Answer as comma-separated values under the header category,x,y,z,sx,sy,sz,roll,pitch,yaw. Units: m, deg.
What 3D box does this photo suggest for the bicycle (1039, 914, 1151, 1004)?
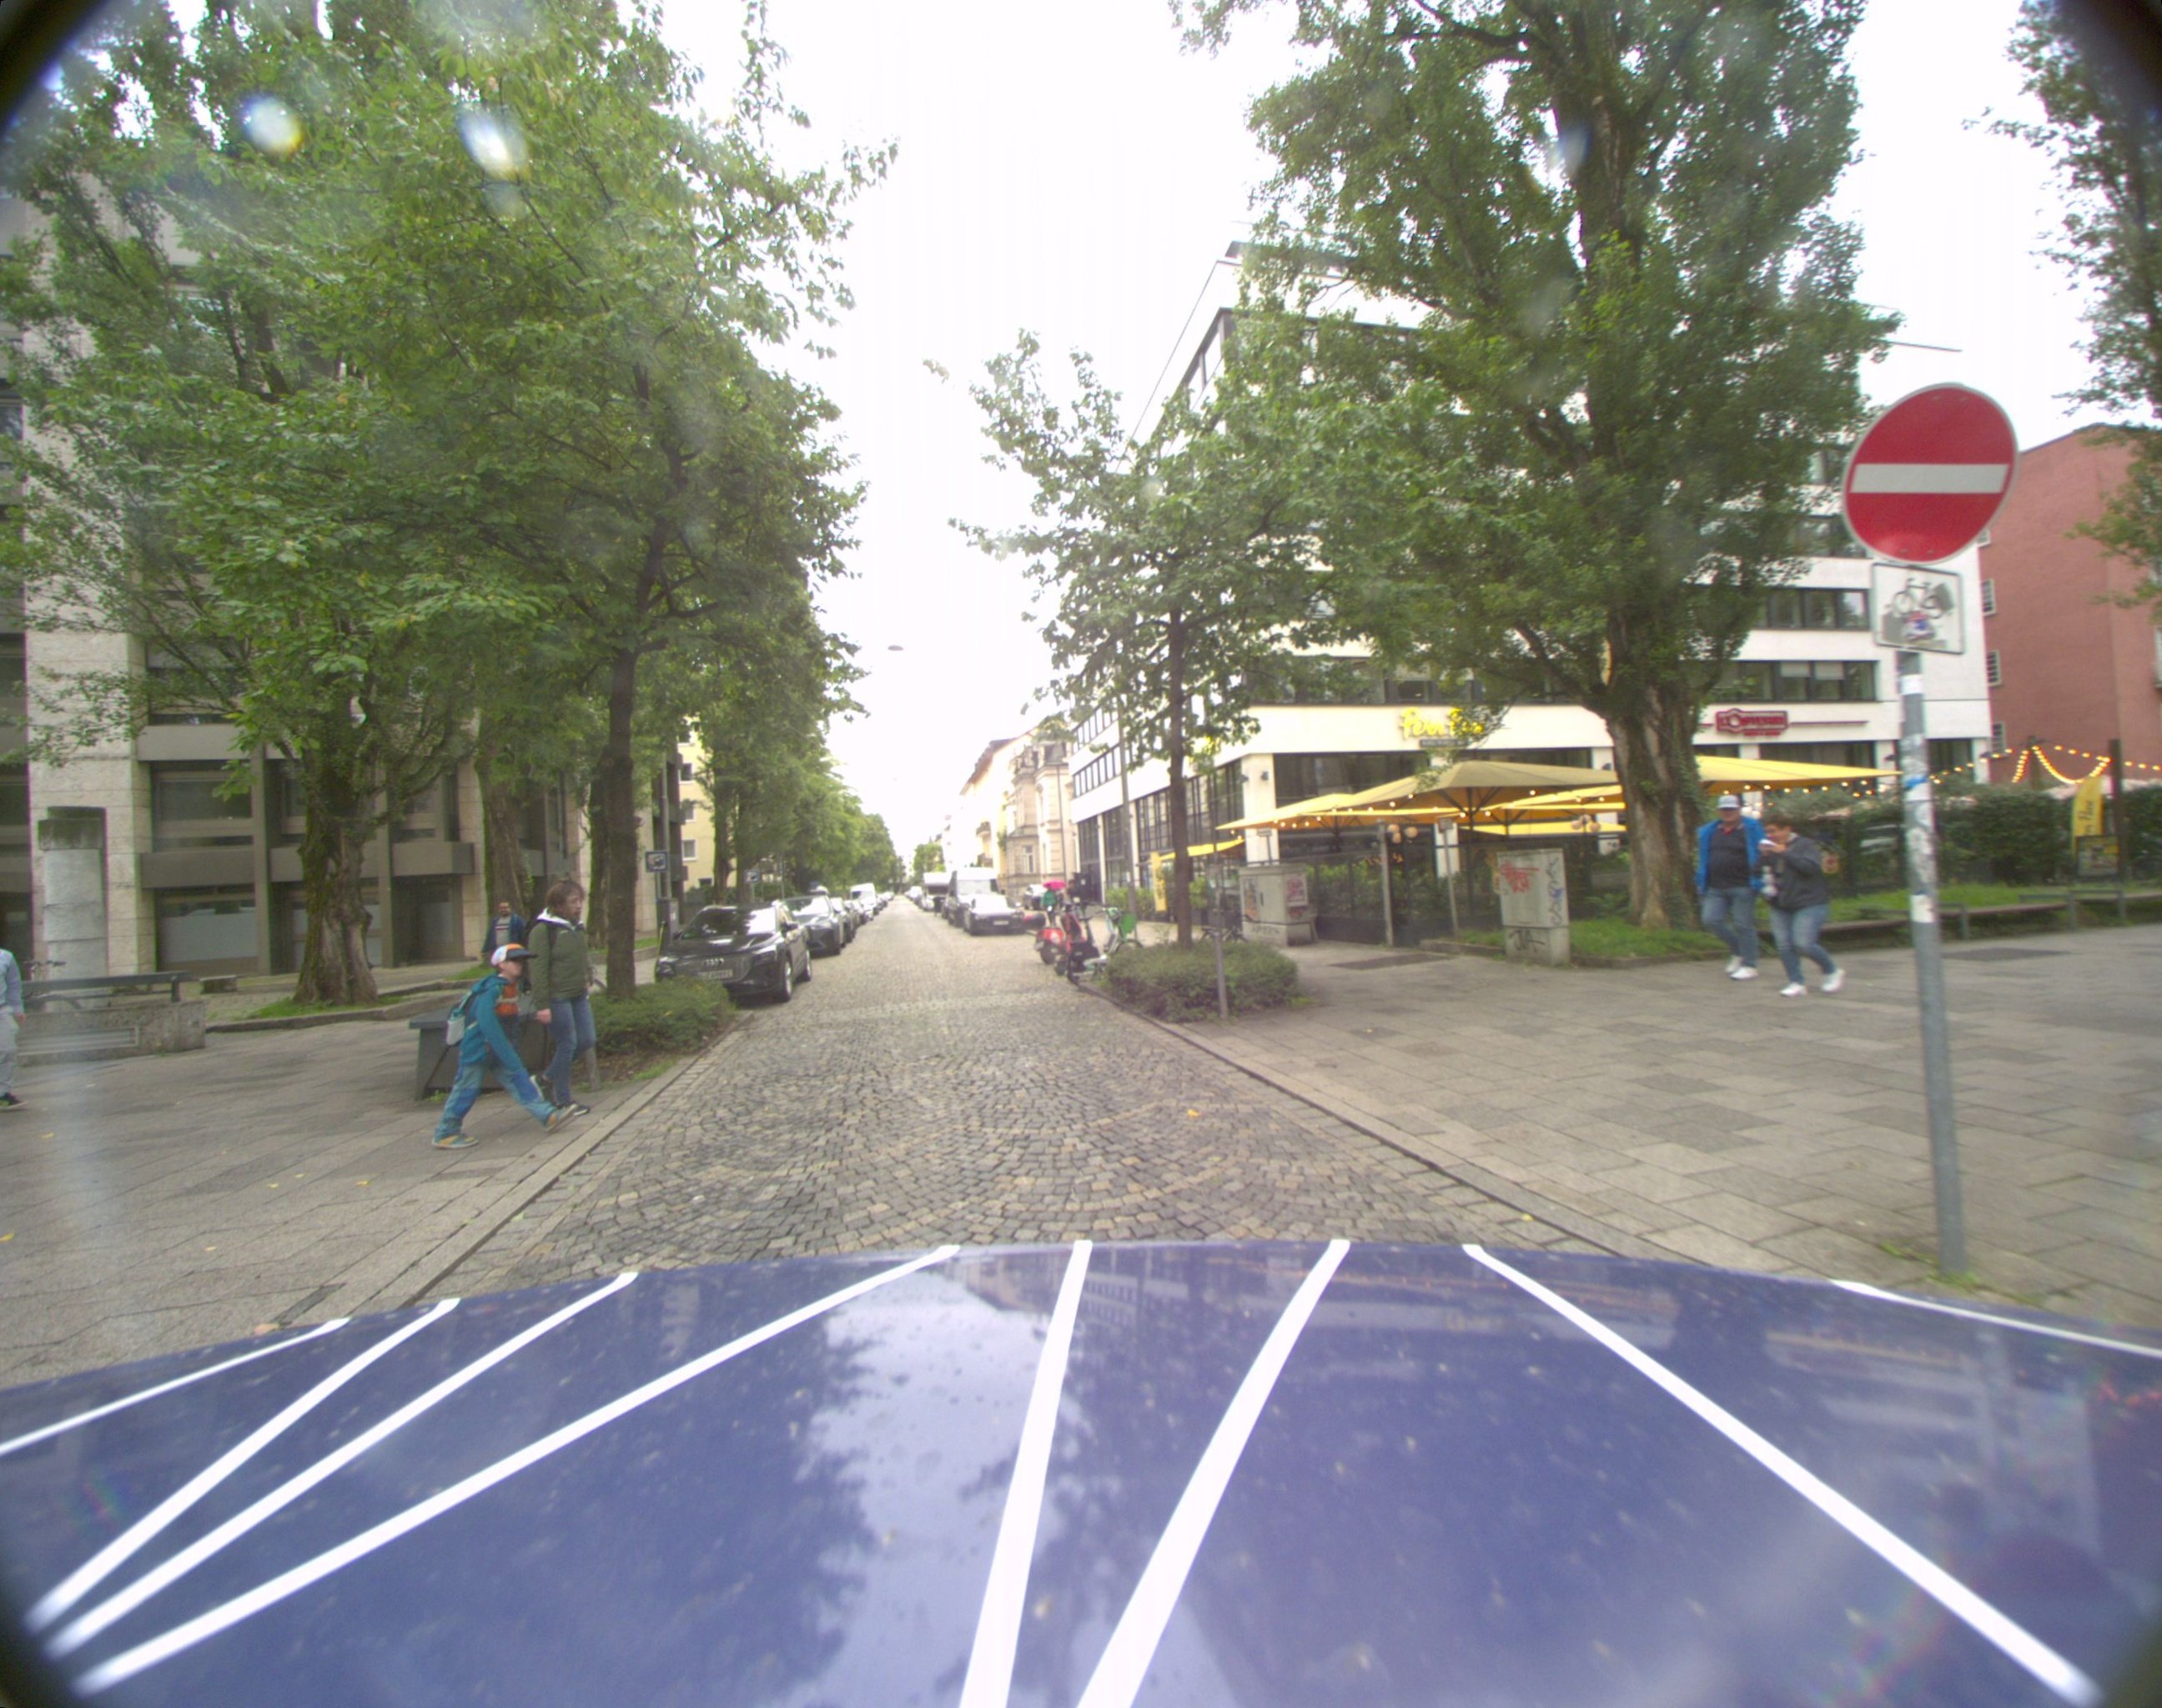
category,x,y,z,sx,sy,sz,roll,pitch,yaw
bicycle,0.242,1.566,11.667,1.766,1.136,0.552,-2,-2,-43

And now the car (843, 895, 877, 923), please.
category,x,y,z,sx,sy,sz,roll,pitch,yaw
car,-13.859,3.426,47.790,1.869,1.490,3.870,-4,-1,-16

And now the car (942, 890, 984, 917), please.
category,x,y,z,sx,sy,sz,roll,pitch,yaw
car,-6.942,2.864,44.362,2.001,1.380,3.997,-3,-2,-14

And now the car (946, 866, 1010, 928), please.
category,x,y,z,sx,sy,sz,roll,pitch,yaw
car,-4.739,1.863,34.069,2.067,2.475,5.843,-2,-2,-15

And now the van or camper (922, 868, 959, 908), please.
category,x,y,z,sx,sy,sz,roll,pitch,yaw
van or camper,-11.810,2.844,63.390,2.466,3.028,7.311,-3,-2,-14

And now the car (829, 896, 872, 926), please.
category,x,y,z,sx,sy,sz,roll,pitch,yaw
car,-12.964,3.171,42.884,2.001,1.379,3.870,-4,-1,-14

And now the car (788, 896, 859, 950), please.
category,x,y,z,sx,sy,sz,roll,pitch,yaw
car,-9.165,2.392,27.358,2.001,1.573,4.338,-4,-1,-14

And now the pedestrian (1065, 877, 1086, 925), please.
category,x,y,z,sx,sy,sz,roll,pitch,yaw
pedestrian,-0.205,1.710,27.823,0.576,1.737,0.650,-3,-1,-8

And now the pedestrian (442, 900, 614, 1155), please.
category,x,y,z,sx,sy,sz,roll,pitch,yaw
pedestrian,-4.000,1.208,5.543,0.690,1.690,0.664,-3,-1,3

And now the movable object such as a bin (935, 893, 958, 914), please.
category,x,y,z,sx,sy,sz,roll,pitch,yaw
movable object such as a bin,-8.804,3.247,49.650,1.256,1.290,1.173,-3,-1,-17

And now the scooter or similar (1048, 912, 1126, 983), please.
category,x,y,z,sx,sy,sz,roll,pitch,yaw
scooter or similar,0.103,1.626,13.328,1.251,1.137,0.327,-3,-1,-12

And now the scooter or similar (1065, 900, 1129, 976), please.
category,x,y,z,sx,sy,sz,roll,pitch,yaw
scooter or similar,0.305,1.541,14.174,1.253,1.265,0.327,-2,-1,-43

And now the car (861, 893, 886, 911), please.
category,x,y,z,sx,sy,sz,roll,pitch,yaw
car,-18.140,4.155,66.380,2.001,1.379,3.870,-4,-1,-16

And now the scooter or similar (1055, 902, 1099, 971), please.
category,x,y,z,sx,sy,sz,roll,pitch,yaw
scooter or similar,-0.065,1.626,15.172,0.327,1.265,1.360,-4,-2,21

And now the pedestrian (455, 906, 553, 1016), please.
category,x,y,z,sx,sy,sz,roll,pitch,yaw
pedestrian,-9.708,1.777,12.819,0.868,1.703,0.912,-3,-1,6

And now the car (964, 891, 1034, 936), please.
category,x,y,z,sx,sy,sz,roll,pitch,yaw
car,-3.025,2.066,27.133,2.000,1.322,4.113,-3,-2,-12

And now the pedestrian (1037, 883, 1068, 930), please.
category,x,y,z,sx,sy,sz,roll,pitch,yaw
pedestrian,-1.069,1.935,28.261,0.929,1.695,0.799,-3,-1,-10

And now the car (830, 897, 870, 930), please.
category,x,y,z,sx,sy,sz,roll,pitch,yaw
car,-11.880,3.018,39.211,1.606,1.422,3.559,-5,-1,-14

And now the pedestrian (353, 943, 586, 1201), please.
category,x,y,z,sx,sy,sz,roll,pitch,yaw
pedestrian,-3.880,1.334,4.895,0.770,1.411,0.819,-3,-1,3

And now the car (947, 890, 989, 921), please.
category,x,y,z,sx,sy,sz,roll,pitch,yaw
car,-6.013,2.651,40.091,2.000,1.421,3.998,-3,-2,-11

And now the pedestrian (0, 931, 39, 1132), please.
category,x,y,z,sx,sy,sz,roll,pitch,yaw
pedestrian,-9.725,1.564,6.623,0.668,1.714,0.714,-4,-1,37

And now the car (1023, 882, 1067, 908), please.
category,x,y,z,sx,sy,sz,roll,pitch,yaw
car,-2.350,2.590,48.447,1.914,1.523,4.166,-3,-2,-15

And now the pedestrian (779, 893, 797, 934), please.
category,x,y,z,sx,sy,sz,roll,pitch,yaw
pedestrian,-11.913,2.395,30.864,0.490,1.618,0.568,-3,-1,-10

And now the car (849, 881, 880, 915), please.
category,x,y,z,sx,sy,sz,roll,pitch,yaw
car,-17.063,3.452,60.151,2.090,2.418,5.606,-4,-1,-15

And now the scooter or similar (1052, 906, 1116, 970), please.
category,x,y,z,sx,sy,sz,roll,pitch,yaw
scooter or similar,0.045,1.613,14.725,0.391,1.172,1.248,-2,-2,-44

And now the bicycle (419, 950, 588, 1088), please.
category,x,y,z,sx,sy,sz,roll,pitch,yaw
bicycle,-6.237,1.727,8.346,0.476,1.129,1.876,-3,-1,-4

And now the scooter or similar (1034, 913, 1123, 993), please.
category,x,y,z,sx,sy,sz,roll,pitch,yaw
scooter or similar,-0.027,1.578,12.343,1.433,1.137,0.369,-2,-1,-36

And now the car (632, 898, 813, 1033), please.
category,x,y,z,sx,sy,sz,roll,pitch,yaw
car,-5.834,1.692,12.944,1.927,1.690,4.198,-4,-1,-14

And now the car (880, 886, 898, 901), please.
category,x,y,z,sx,sy,sz,roll,pitch,yaw
car,-24.738,5.070,97.637,2.001,1.679,3.870,-4,-1,-16

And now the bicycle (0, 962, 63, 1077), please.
category,x,y,z,sx,sy,sz,roll,pitch,yaw
bicycle,-13.594,2.027,8.956,1.869,1.269,0.721,-3,-1,-11

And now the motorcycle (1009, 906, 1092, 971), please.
category,x,y,z,sx,sy,sz,roll,pitch,yaw
motorcycle,-0.598,1.716,15.795,0.769,1.188,1.995,-3,-3,29

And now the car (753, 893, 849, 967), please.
category,x,y,z,sx,sy,sz,roll,pitch,yaw
car,-7.856,2.062,21.753,2.020,1.690,4.669,-4,-1,-14

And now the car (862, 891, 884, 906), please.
category,x,y,z,sx,sy,sz,roll,pitch,yaw
car,-21.397,4.545,78.217,2.001,1.379,3.870,-4,-1,-16

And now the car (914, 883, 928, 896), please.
category,x,y,z,sx,sy,sz,roll,pitch,yaw
car,-30.765,6.815,145.956,2.090,2.417,5.606,-3,-2,-15
